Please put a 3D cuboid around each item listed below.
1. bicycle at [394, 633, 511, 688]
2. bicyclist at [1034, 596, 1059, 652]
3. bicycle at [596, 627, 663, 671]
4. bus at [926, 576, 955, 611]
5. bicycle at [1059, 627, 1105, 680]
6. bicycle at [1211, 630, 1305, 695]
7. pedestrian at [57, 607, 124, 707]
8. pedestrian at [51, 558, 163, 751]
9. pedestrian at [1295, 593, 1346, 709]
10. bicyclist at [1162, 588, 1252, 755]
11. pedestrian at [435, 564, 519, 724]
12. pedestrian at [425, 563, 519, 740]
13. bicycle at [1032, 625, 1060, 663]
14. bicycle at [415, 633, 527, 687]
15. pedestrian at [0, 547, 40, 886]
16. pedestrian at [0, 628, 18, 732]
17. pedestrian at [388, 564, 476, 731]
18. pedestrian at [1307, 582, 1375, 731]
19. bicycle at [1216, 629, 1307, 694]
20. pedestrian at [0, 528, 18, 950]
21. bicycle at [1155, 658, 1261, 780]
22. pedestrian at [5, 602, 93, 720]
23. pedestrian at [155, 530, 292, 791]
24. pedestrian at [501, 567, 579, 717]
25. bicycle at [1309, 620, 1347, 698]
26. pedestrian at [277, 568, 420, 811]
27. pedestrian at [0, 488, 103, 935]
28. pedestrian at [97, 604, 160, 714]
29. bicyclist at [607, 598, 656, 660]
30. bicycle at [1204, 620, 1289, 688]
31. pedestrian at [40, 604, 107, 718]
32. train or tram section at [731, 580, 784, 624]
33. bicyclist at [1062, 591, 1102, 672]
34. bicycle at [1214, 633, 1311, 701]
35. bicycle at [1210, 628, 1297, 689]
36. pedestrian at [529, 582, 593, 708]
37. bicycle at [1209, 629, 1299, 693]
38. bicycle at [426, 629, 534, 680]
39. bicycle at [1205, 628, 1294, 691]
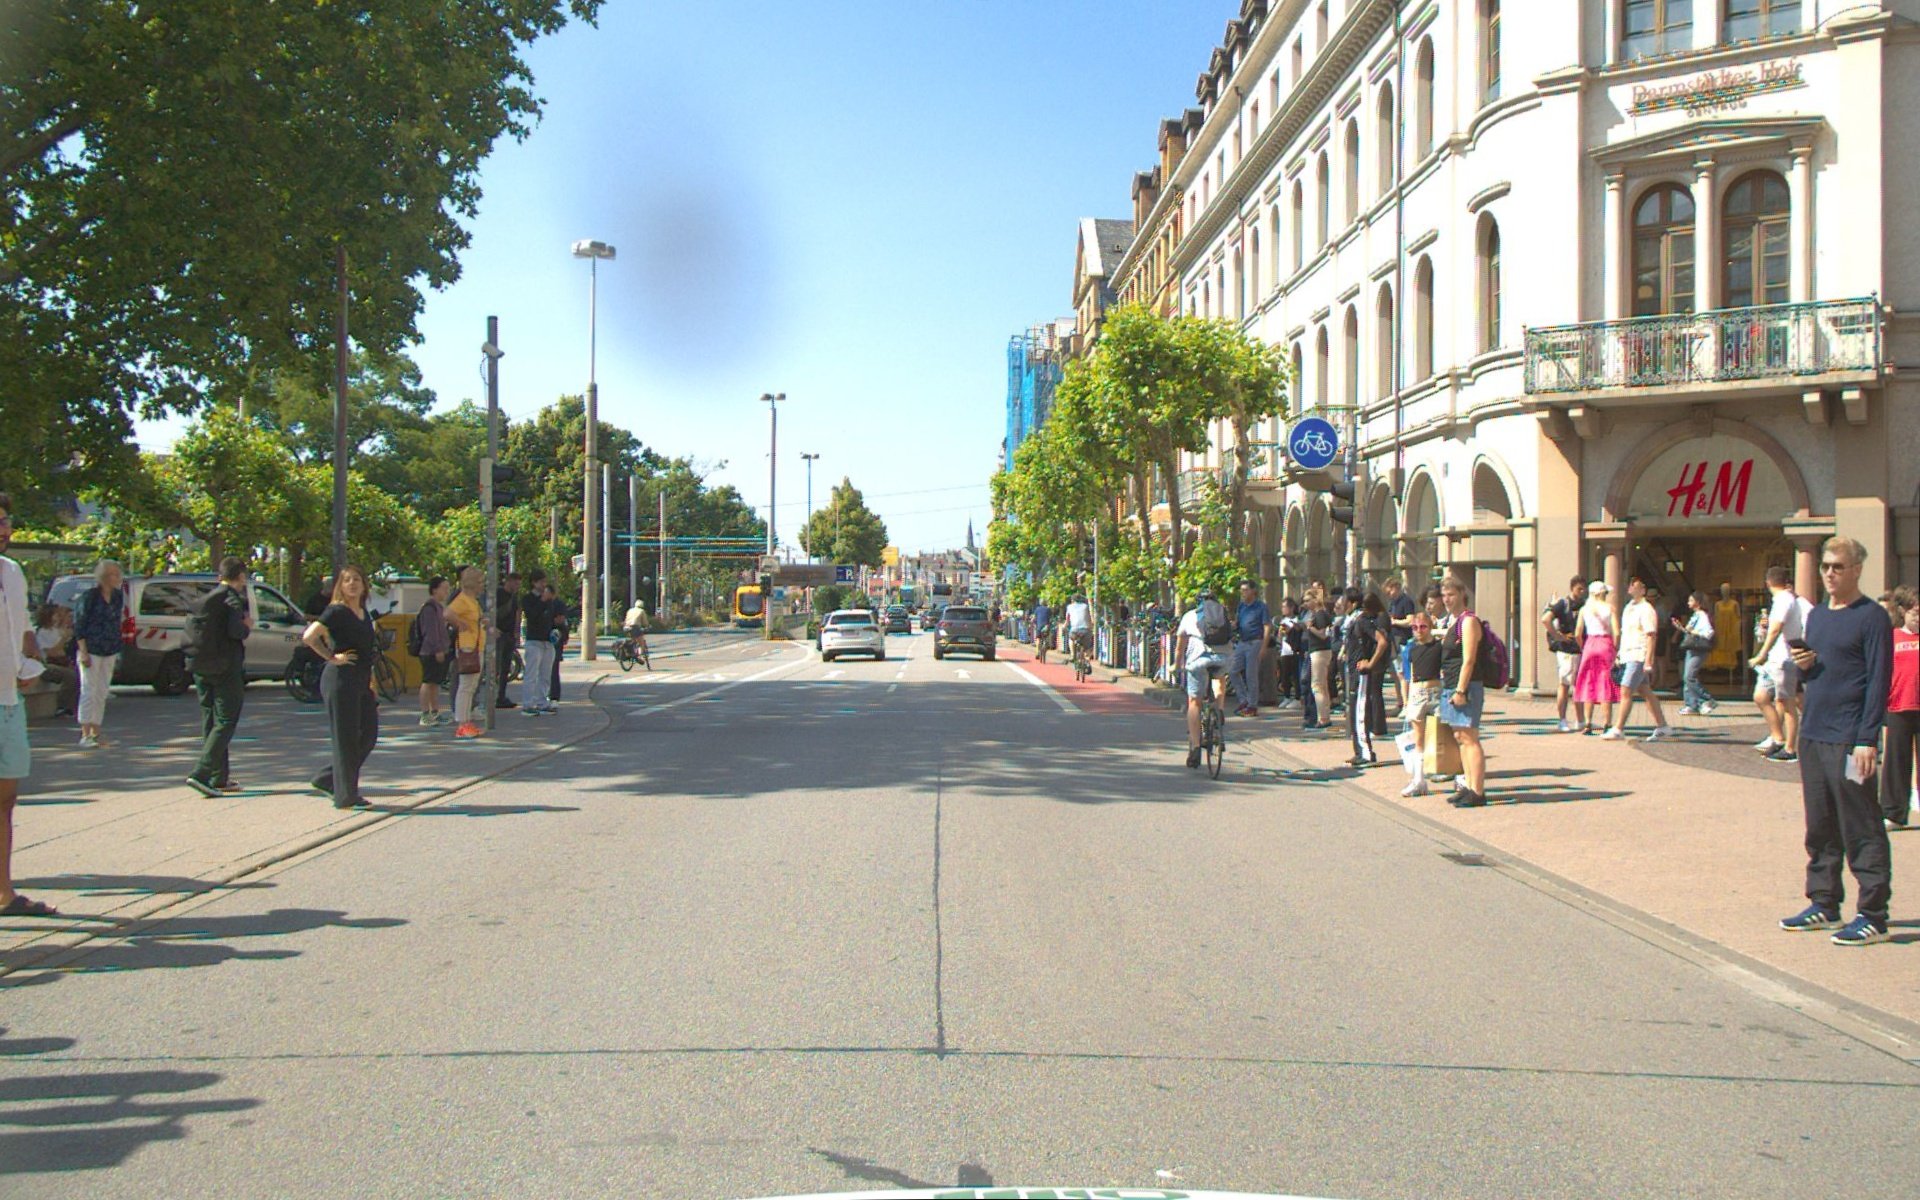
[{"bbox_3d":[-9.521,1.125,31.076,2.046,0.997,0.682,0,-1,-13],"label":"bicycle"},{"bbox_3d":[2.439,0.671,46.808,0.634,1.578,0.817,0,0,-1],"label":"bicyclist"},{"bbox_3d":[-8.250,1.213,41.378,0.663,1.044,1.968,0,0,22],"label":"bicycle"},{"bbox_3d":[-2.218,-0.649,180.345,2.934,3.657,11.740,0,-1,-2],"label":"bus"},{"bbox_3d":[2.536,1.091,34.508,0.758,1.023,2.329,0,0,-1],"label":"bicycle"},{"bbox_3d":[4.727,0.989,26.271,1.391,0.997,0.445,-1,0,-1],"label":"bicycle"},{"bbox_3d":[-12.069,0.782,22.959,0.699,1.371,0.502,1,-1,-45],"label":"pedestrian"},{"bbox_3d":[-8.356,0.519,16.214,0.619,1.842,0.731,0,-1,20],"label":"pedestrian"},{"bbox_3d":[5.122,0.724,23.490,0.519,1.623,0.611,-2,-2,25],"label":"pedestrian"},{"bbox_3d":[2.316,0.649,15.596,0.617,1.507,1.198,1,0,-2],"label":"bicyclist"},{"bbox_3d":[-5.810,0.520,19.925,0.620,1.891,0.730,0,-1,28],"label":"pedestrian"},{"bbox_3d":[-5.148,0.536,17.475,0.619,1.825,0.731,0,-1,20],"label":"pedestrian"},{"bbox_3d":[2.422,1.226,46.732,0.634,1.015,2.030,0,0,-1],"label":"bicycle"},{"bbox_3d":[-9.536,1.162,32.300,2.046,0.997,0.682,0,-1,-13],"label":"bicycle"},{"bbox_3d":[-5.252,0.601,8.507,0.572,1.752,0.789,0,-1,1],"label":"pedestrian"},{"bbox_3d":[-11.044,0.891,18.459,0.619,1.164,0.665,0,-1,20],"label":"pedestrian"},{"bbox_3d":[-6.125,0.537,19.190,0.620,1.891,0.730,0,-1,28],"label":"pedestrian"},{"bbox_3d":[4.518,0.662,19.638,0.571,1.703,0.605,-3,-1,-3],"label":"pedestrian"},{"bbox_3d":[4.868,0.989,26.735,1.391,0.997,0.445,-1,0,-1],"label":"bicycle"},{"bbox_3d":[-4.347,0.586,6.790,0.564,1.789,0.638,0,-1,1],"label":"pedestrian"},{"bbox_3d":[2.310,1.086,15.614,0.617,0.997,2.088,1,0,-2],"label":"bicycle"},{"bbox_3d":[-11.072,0.734,20.123,0.717,1.410,0.664,1,-1,-8],"label":"pedestrian"},{"bbox_3d":[-5.523,0.440,12.424,0.619,1.891,0.687,0,-1,20],"label":"pedestrian"},{"bbox_3d":[-5.345,0.524,21.050,0.620,1.866,0.730,0,-1,28],"label":"pedestrian"},{"bbox_3d":[5.722,0.905,25.702,0.391,1.133,1.425,-1,1,20],"label":"bicycle"},{"bbox_3d":[-4.237,0.601,11.492,0.619,1.623,0.687,0,-1,20],"label":"pedestrian"},{"bbox_3d":[-4.322,0.487,7.523,0.521,1.953,0.560,0,-1,1],"label":"pedestrian"},{"bbox_3d":[-10.936,0.763,21.752,0.652,1.410,0.657,1,-1,-35],"label":"pedestrian"},{"bbox_3d":[-8.212,0.719,41.419,0.724,1.529,1.051,0,0,24],"label":"bicyclist"},{"bbox_3d":[4.940,0.926,28.548,1.391,1.133,0.401,-1,0,-1],"label":"bicycle"},{"bbox_3d":[-11.181,0.759,20.883,0.649,1.410,0.661,1,-1,-22],"label":"pedestrian"},{"bbox_3d":[-16.505,0.167,135.611,2.558,3.407,11.005,1,0,2],"label":"train or tram section"},{"bbox_3d":[2.532,0.639,34.491,0.758,1.664,0.851,0,0,-1],"label":"bicyclist"},{"bbox_3d":[4.648,1.022,25.447,1.391,0.997,0.445,-1,0,-1],"label":"bicycle"},{"bbox_3d":[4.985,0.992,28.121,1.391,0.997,0.401,-1,0,-1],"label":"bicycle"},{"bbox_3d":[-5.478,0.611,22.741,0.605,1.697,0.591,0,-1,28],"label":"pedestrian"},{"bbox_3d":[4.826,1.001,27.190,1.391,0.997,0.445,-1,0,-1],"label":"bicycle"},{"bbox_3d":[-9.707,1.098,33.487,2.046,0.997,0.682,0,-1,-13],"label":"bicycle"},{"bbox_3d":[4.840,0.992,27.683,1.391,0.997,0.445,-1,0,-1],"label":"bicycle"}]
